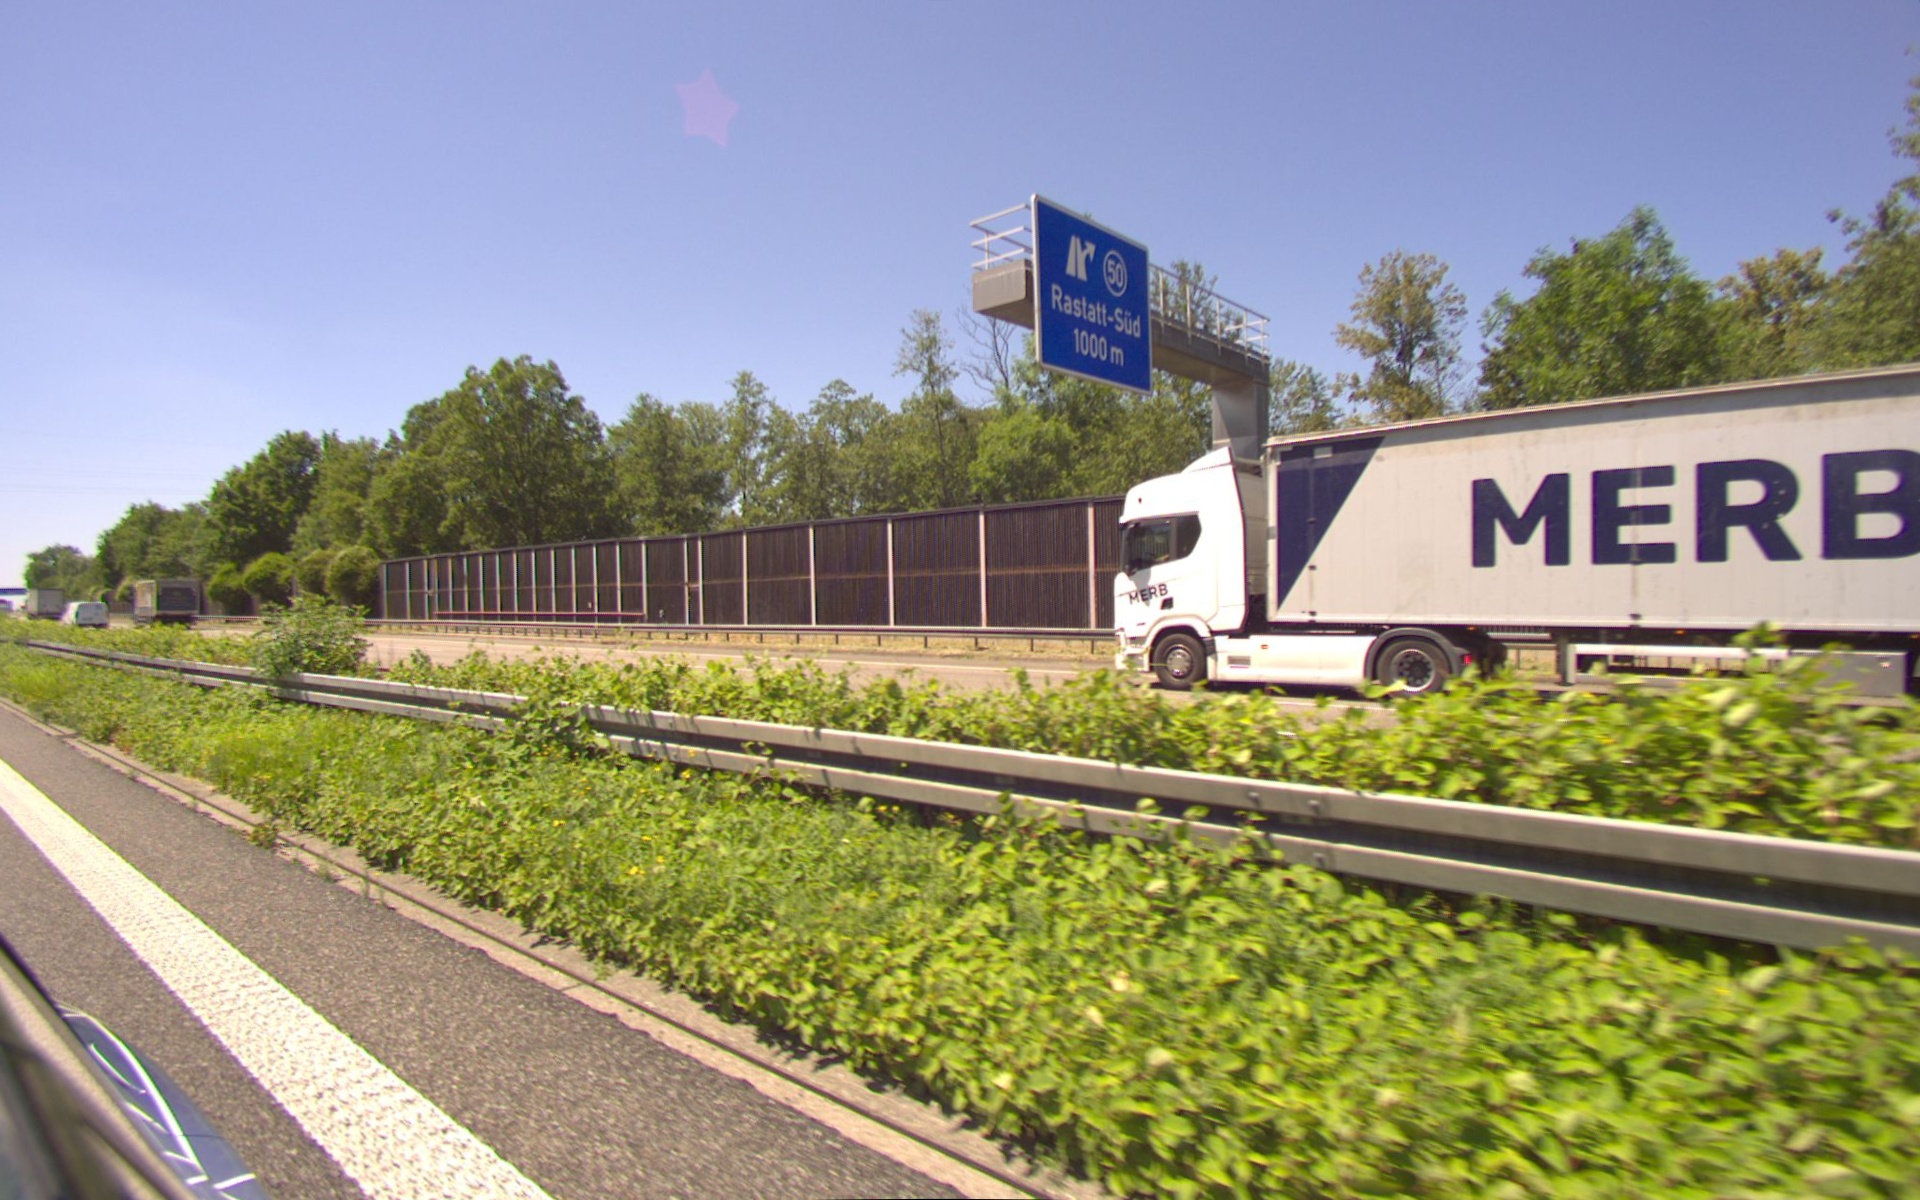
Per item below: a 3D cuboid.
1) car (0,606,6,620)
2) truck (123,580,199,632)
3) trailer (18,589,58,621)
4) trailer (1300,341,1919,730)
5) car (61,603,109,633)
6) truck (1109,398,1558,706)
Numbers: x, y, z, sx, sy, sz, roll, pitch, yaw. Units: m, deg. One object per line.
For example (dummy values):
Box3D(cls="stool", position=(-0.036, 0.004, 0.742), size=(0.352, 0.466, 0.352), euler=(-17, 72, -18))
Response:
Box3D(cls="car", position=(-126.917, 1.693, 133.036), size=(4.816, 1.834, 1.848), euler=(-1, -1, 42))
Box3D(cls="truck", position=(-59.527, 0.457, 75.273), size=(9.949, 3.632, 2.840), euler=(-1, -1, 42))
Box3D(cls="trailer", position=(-120.046, 0.726, 131.693), size=(13.759, 3.939, 2.700), euler=(-1, -1, 43))
Box3D(cls="trailer", position=(11.092, -0.697, 11.760), size=(13.649, 4.167, 2.458), euler=(-1, -1, 42))
Box3D(cls="car", position=(-61.183, 1.269, 70.728), size=(5.101, 2.029, 1.972), euler=(-1, -1, 43))
Box3D(cls="truck", position=(5.823, -0.604, 16.488), size=(6.368, 4.097, 2.493), euler=(-1, -1, 42))
